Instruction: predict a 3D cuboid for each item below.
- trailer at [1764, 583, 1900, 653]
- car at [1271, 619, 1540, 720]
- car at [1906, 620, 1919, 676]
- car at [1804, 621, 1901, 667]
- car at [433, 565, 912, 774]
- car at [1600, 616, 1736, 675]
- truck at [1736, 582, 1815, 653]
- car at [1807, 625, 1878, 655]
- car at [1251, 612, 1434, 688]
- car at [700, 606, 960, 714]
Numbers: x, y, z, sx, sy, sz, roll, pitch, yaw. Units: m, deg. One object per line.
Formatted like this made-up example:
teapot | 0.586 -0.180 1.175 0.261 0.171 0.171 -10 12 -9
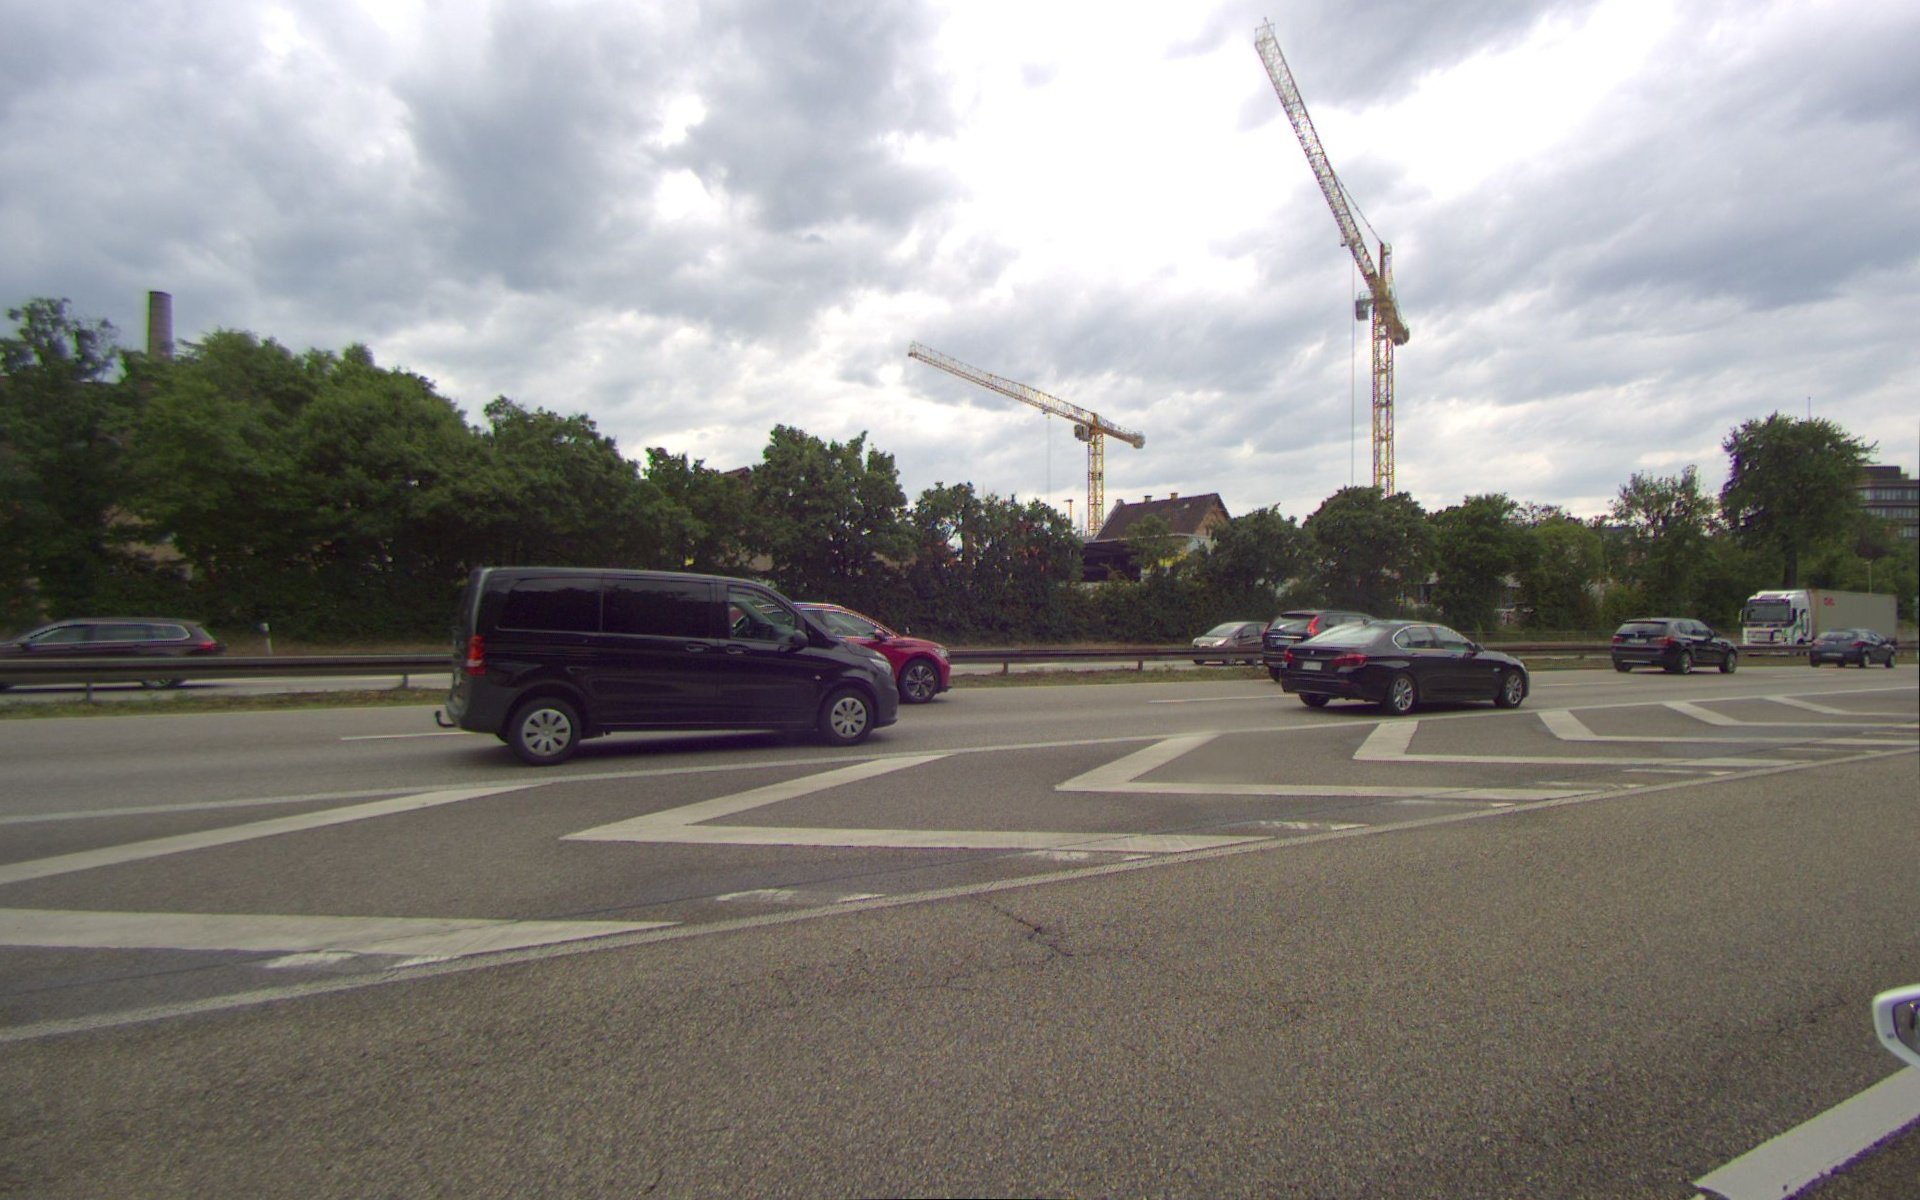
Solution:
trailer | 55.045 1.171 63.255 12.922 4.082 2.386 1 -1 -30
car | 7.484 1.076 16.750 4.609 1.476 1.705 1 -1 -29
car | 31.618 1.498 31.298 4.454 1.714 1.937 1 -1 -30
car | 34.333 1.673 38.616 3.962 1.629 1.679 1 0 -31
car | -3.082 0.671 11.112 4.757 1.875 1.983 1 -1 -31
car | 21.823 1.352 30.940 4.257 1.703 1.881 1 -1 -31
truck | 48.110 1.047 59.249 3.952 4.074 2.395 1 -1 -30
car | 45.523 2.053 51.792 3.719 1.483 1.679 1 -1 -30
car | 9.006 1.127 23.573 4.215 1.657 1.744 1 -1 -30
car | -2.124 0.931 16.547 3.896 1.588 1.759 1 -1 -29
